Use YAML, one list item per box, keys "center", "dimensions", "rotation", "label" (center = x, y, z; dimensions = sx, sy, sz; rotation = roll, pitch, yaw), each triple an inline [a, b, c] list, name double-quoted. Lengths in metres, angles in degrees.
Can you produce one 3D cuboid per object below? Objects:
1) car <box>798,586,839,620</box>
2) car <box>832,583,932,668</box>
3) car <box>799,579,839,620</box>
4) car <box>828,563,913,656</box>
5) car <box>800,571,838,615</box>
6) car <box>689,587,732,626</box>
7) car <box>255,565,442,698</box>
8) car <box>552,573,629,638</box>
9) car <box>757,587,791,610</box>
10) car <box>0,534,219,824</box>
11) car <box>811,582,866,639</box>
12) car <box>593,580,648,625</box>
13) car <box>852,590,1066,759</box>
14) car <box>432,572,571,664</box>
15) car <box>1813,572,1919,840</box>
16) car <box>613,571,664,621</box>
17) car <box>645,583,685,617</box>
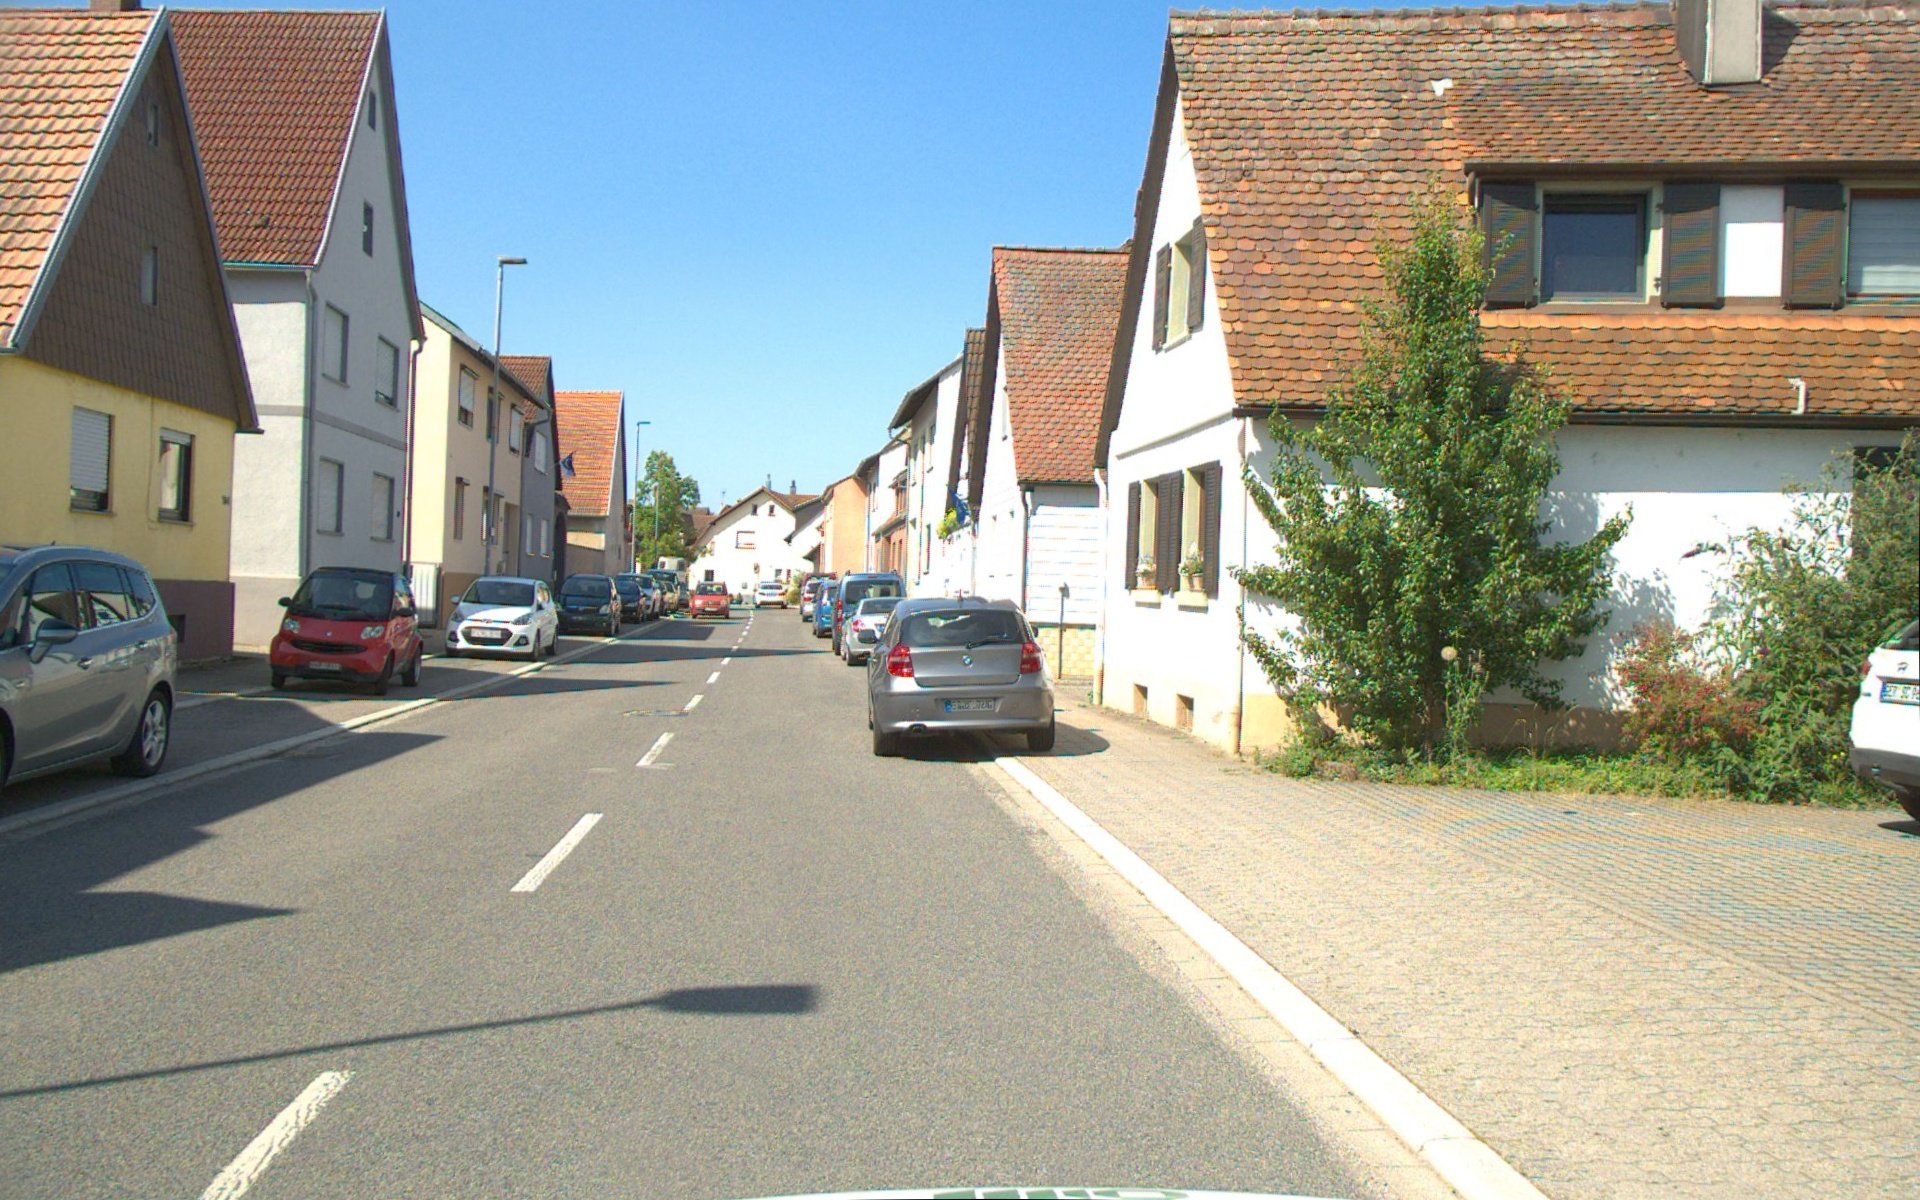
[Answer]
- center: [-6.356, 0.136, 74.041]
  dimensions: [1.733, 1.458, 3.446]
  rotation: [2, -1, -6]
  label: "car"
- center: [-1.595, 0.481, 32.954]
  dimensions: [1.672, 1.523, 3.447]
  rotation: [3, 0, -7]
  label: "car"
- center: [-5.673, -0.034, 66.264]
  dimensions: [1.393, 1.541, 3.299]
  rotation: [3, 0, -7]
  label: "car"
- center: [-2.096, 0.203, 37.846]
  dimensions: [1.618, 1.943, 3.620]
  rotation: [3, 0, -7]
  label: "car"
- center: [-6.805, -0.315, 79.444]
  dimensions: [1.733, 2.039, 3.446]
  rotation: [2, -1, -6]
  label: "car"
- center: [-10.432, 0.251, 69.312]
  dimensions: [1.570, 1.515, 3.620]
  rotation: [3, 0, -7]
  label: "car"
- center: [-8.015, 0.396, 21.925]
  dimensions: [1.522, 1.571, 2.984]
  rotation: [3, 0, -5]
  label: "car"
- center: [-10.082, 0.140, 45.338]
  dimensions: [1.588, 1.605, 3.955]
  rotation: [3, 0, -7]
  label: "car"
- center: [-10.937, -0.080, 97.253]
  dimensions: [1.955, 1.311, 3.994]
  rotation: [2, 0, -6]
  label: "car"
- center: [-6.488, 0.412, 10.411]
  dimensions: [1.837, 1.665, 4.658]
  rotation: [3, 0, -5]
  label: "car"
- center: [-3.610, 0.303, 48.832]
  dimensions: [1.393, 1.541, 3.299]
  rotation: [3, 0, -7]
  label: "car"
- center: [-11.694, 0.086, 57.106]
  dimensions: [1.475, 1.478, 3.504]
  rotation: [2, -1, -6]
  label: "car"
- center: [-0.131, 0.646, 16.411]
  dimensions: [1.672, 1.458, 3.883]
  rotation: [0, 0, -7]
  label: "car"
- center: [-8.807, 0.323, 32.105]
  dimensions: [1.771, 1.574, 4.399]
  rotation: [3, 0, -5]
  label: "car"
- center: [8.095, 0.723, 10.810]
  dimensions: [4.089, 1.686, 1.812]
  rotation: [2, -1, 0]
  label: "car"
- center: [-11.878, -0.146, 61.309]
  dimensions: [1.498, 1.743, 3.620]
  rotation: [3, 0, -7]
  label: "car"
- center: [-13.119, 0.002, 73.641]
  dimensions: [1.498, 1.379, 3.620]
  rotation: [3, 0, -7]
  label: "car"
